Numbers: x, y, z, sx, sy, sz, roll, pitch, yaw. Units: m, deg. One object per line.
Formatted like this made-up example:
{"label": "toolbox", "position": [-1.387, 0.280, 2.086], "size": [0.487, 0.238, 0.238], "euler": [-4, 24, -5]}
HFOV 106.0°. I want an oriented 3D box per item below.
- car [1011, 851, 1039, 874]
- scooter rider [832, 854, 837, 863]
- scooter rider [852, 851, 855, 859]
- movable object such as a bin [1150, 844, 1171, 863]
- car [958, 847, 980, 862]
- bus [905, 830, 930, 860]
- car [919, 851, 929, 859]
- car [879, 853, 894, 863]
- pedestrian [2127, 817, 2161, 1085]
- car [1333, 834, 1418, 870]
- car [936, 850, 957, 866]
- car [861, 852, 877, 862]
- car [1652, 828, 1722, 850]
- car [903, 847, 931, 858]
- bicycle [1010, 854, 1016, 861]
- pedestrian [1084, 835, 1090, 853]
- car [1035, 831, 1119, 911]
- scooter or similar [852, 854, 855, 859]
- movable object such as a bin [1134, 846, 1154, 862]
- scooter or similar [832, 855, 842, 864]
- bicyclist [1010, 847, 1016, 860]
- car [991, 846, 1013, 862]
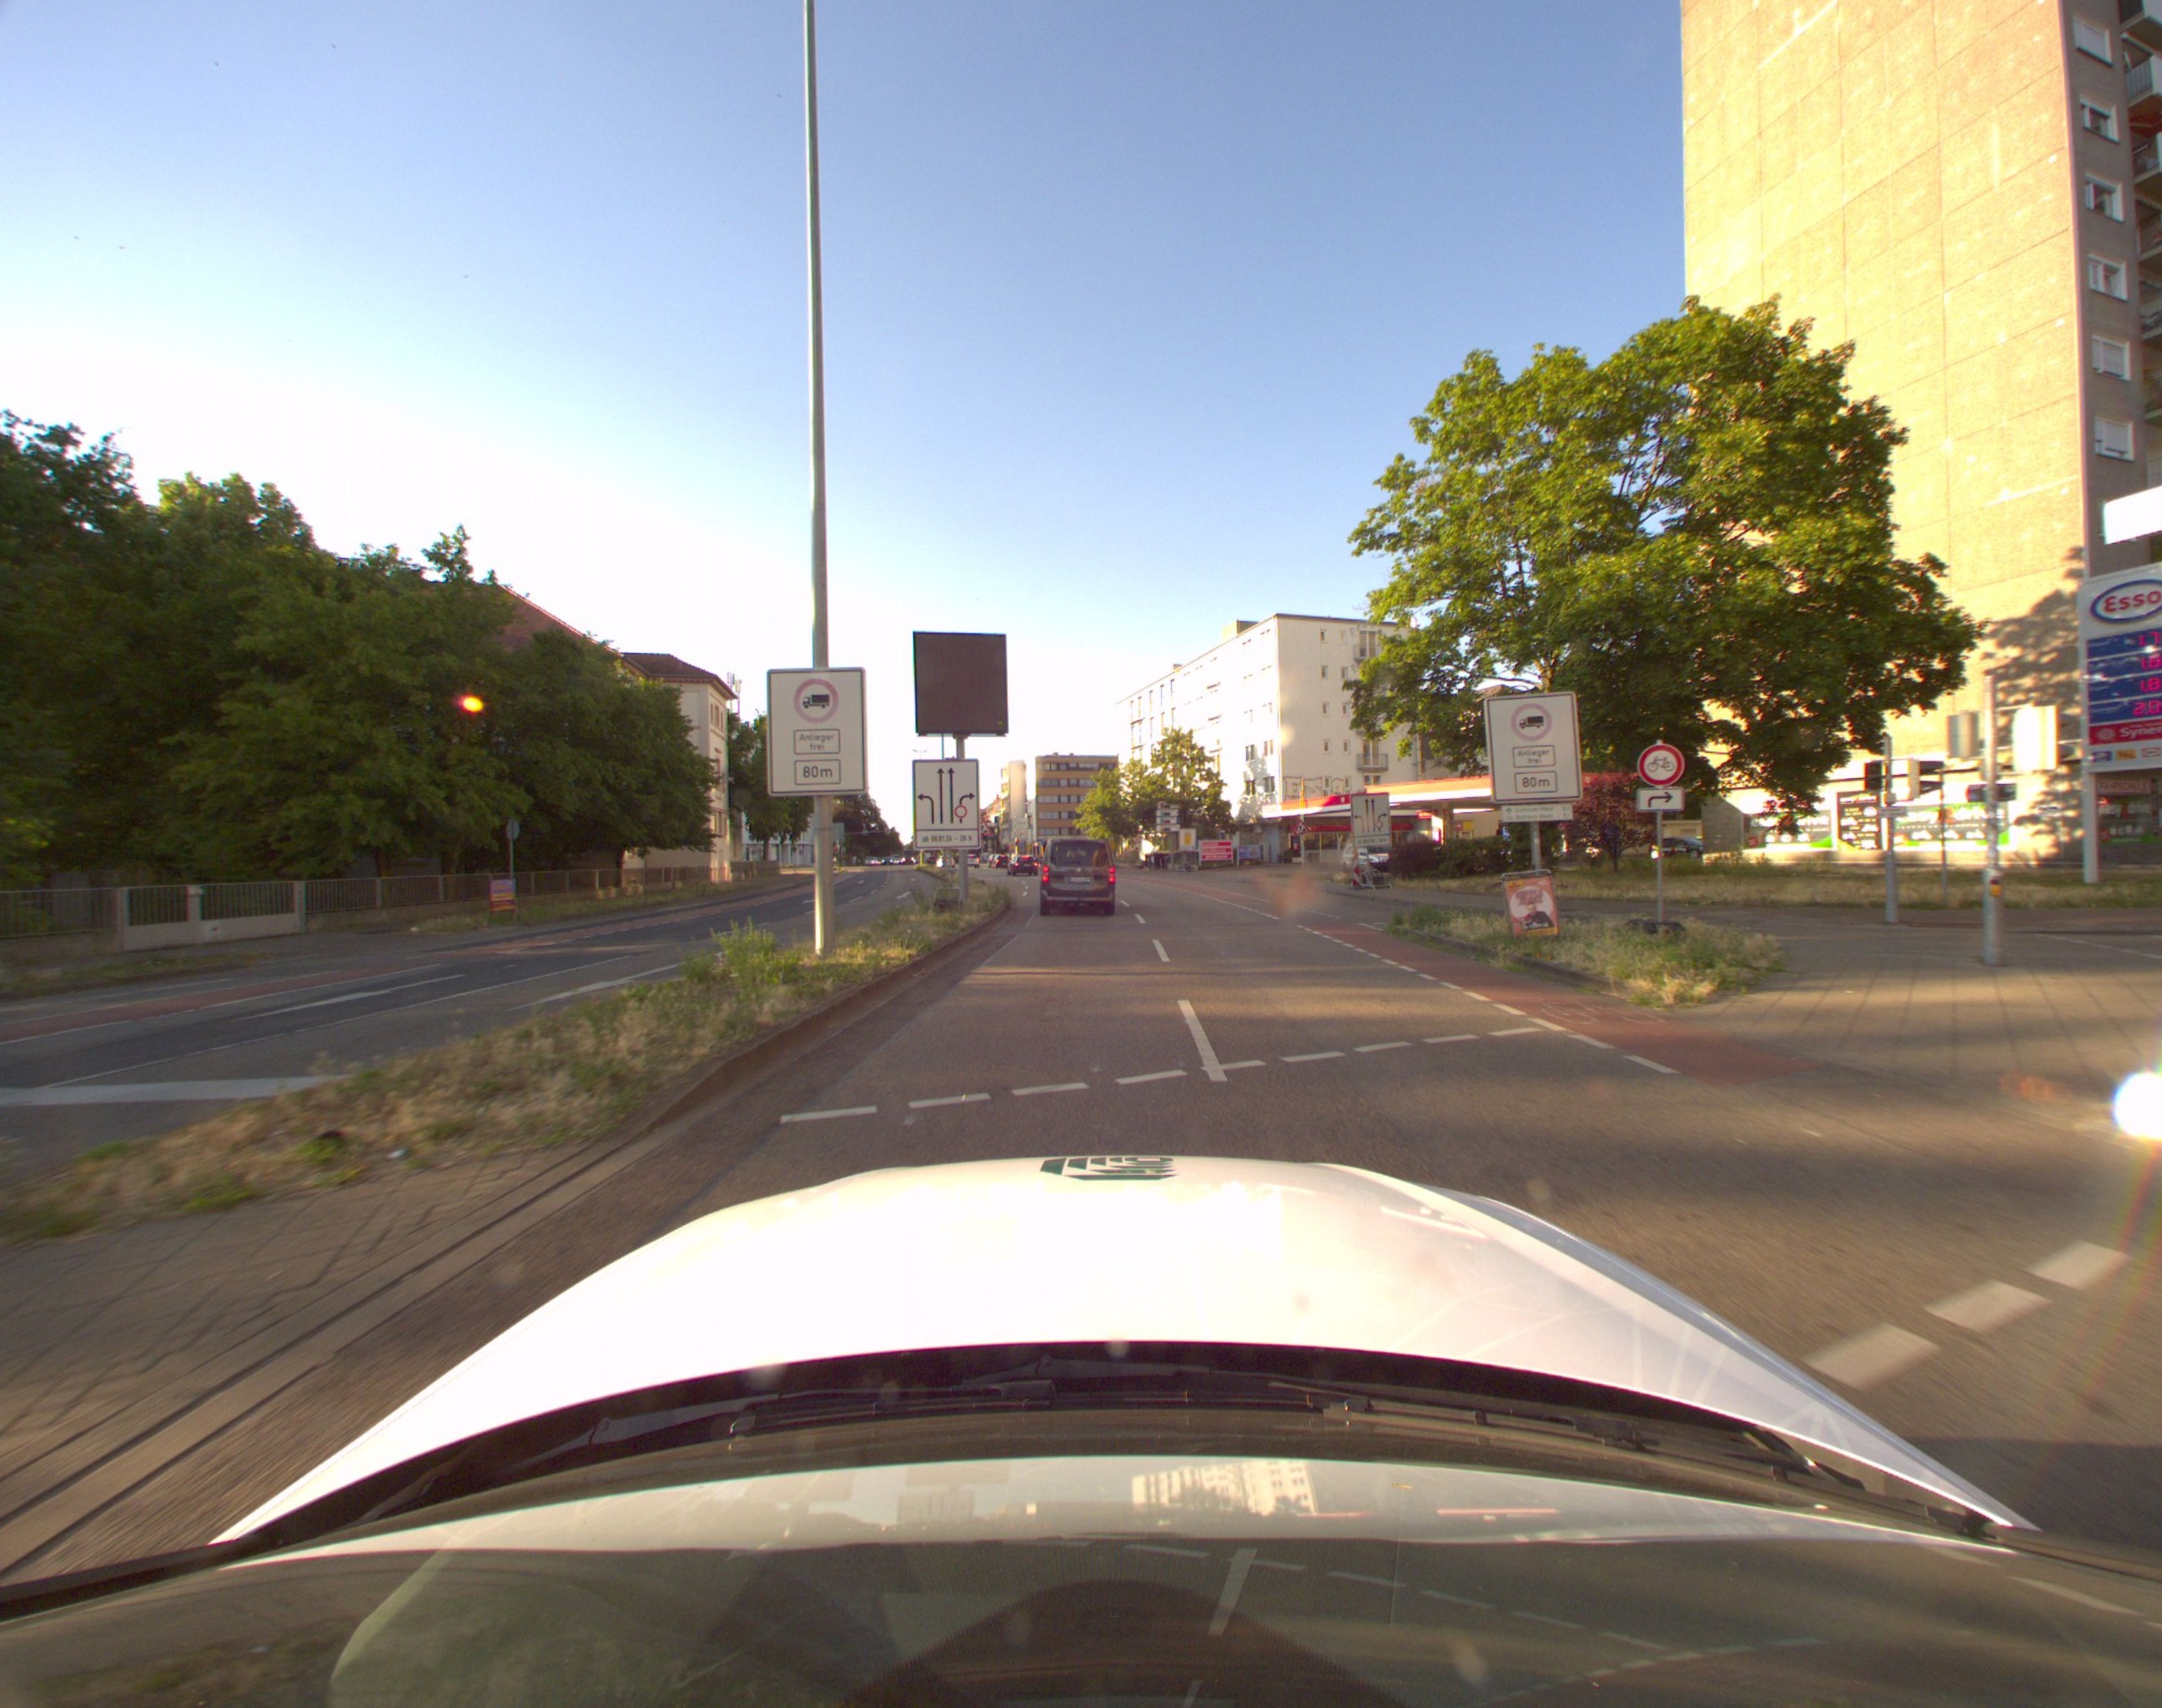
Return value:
{"label": "car", "position": [-3.990, 0.558, 57.511], "size": [1.843, 1.544, 3.624], "euler": [-1, 1, -6]}
{"label": "scooter rider", "position": [-29.516, 0.538, 97.587], "size": [0.511, 1.036, 0.443], "euler": [0, 0, -23]}
{"label": "scooter rider", "position": [-37.015, 0.121, 132.680], "size": [0.355, 1.373, 0.336], "euler": [-2, 0, -12]}
{"label": "movable object such as a bin", "position": [6.565, -0.053, 67.622], "size": [1.460, 1.454, 1.545], "euler": [-2, 1, -4]}
{"label": "car", "position": [-12.911, 0.079, 93.995], "size": [1.997, 1.656, 4.277], "euler": [-2, 1, -15]}
{"label": "bus", "position": [-26.731, -1.396, 133.020], "size": [3.296, 4.617, 9.947], "euler": [0, 0, -15]}
{"label": "car", "position": [-34.250, 0.184, 177.572], "size": [1.853, 1.708, 3.704], "euler": [-2, 0, -17]}
{"label": "car", "position": [-32.957, 0.640, 137.984], "size": [1.991, 1.595, 3.993], "euler": [-1, 1, -6]}
{"label": "pedestrian", "position": [6.829, 0.585, 4.748], "size": [0.551, 1.628, 0.699], "euler": [-1, 0, -3]}
{"label": "car", "position": [13.310, -0.109, 37.107], "size": [1.771, 1.530, 4.340], "euler": [-1, 1, -8]}
{"label": "car", "position": [-15.385, 0.437, 92.863], "size": [1.997, 1.656, 4.277], "euler": [-2, 1, -15]}
{"label": "car", "position": [-35.633, 0.564, 137.167], "size": [1.991, 1.595, 3.993], "euler": [-1, 1, -6]}
{"label": "car", "position": [39.676, -0.954, 53.398], "size": [1.572, 1.381, 3.421], "euler": [-2, 1, -14]}
{"label": "car", "position": [-25.790, -0.230, 128.390], "size": [4.004, 1.595, 1.985], "euler": [-2, 1, -23]}
{"label": "bicycle", "position": [-8.101, 0.379, 97.363], "size": [0.533, 0.847, 1.676], "euler": [-2, 1, -11]}
{"label": "pedestrian", "position": [0.645, -1.153, 92.673], "size": [0.491, 2.013, 0.661], "euler": [-2, 0, -14]}
{"label": "car", "position": [-0.091, 0.379, 21.502], "size": [1.987, 1.900, 4.299], "euler": [0, 0, 0]}
{"label": "scooter or similar", "position": [-37.004, 0.413, 132.667], "size": [0.358, 0.895, 0.901], "euler": [-2, 0, -12]}
{"label": "movable object such as a bin", "position": [5.454, -0.024, 70.899], "size": [1.460, 1.386, 1.545], "euler": [-2, 1, -4]}
{"label": "scooter or similar", "position": [-29.302, 0.647, 97.669], "size": [1.103, 0.976, 0.555], "euler": [0, 0, -23]}
{"label": "bicyclist", "position": [-8.103, -0.083, 97.296], "size": [0.541, 1.459, 0.639], "euler": [-2, 0, -12]}
{"label": "car", "position": [-8.727, 0.019, 89.841], "size": [1.994, 1.656, 4.283], "euler": [-2, 1, -11]}
